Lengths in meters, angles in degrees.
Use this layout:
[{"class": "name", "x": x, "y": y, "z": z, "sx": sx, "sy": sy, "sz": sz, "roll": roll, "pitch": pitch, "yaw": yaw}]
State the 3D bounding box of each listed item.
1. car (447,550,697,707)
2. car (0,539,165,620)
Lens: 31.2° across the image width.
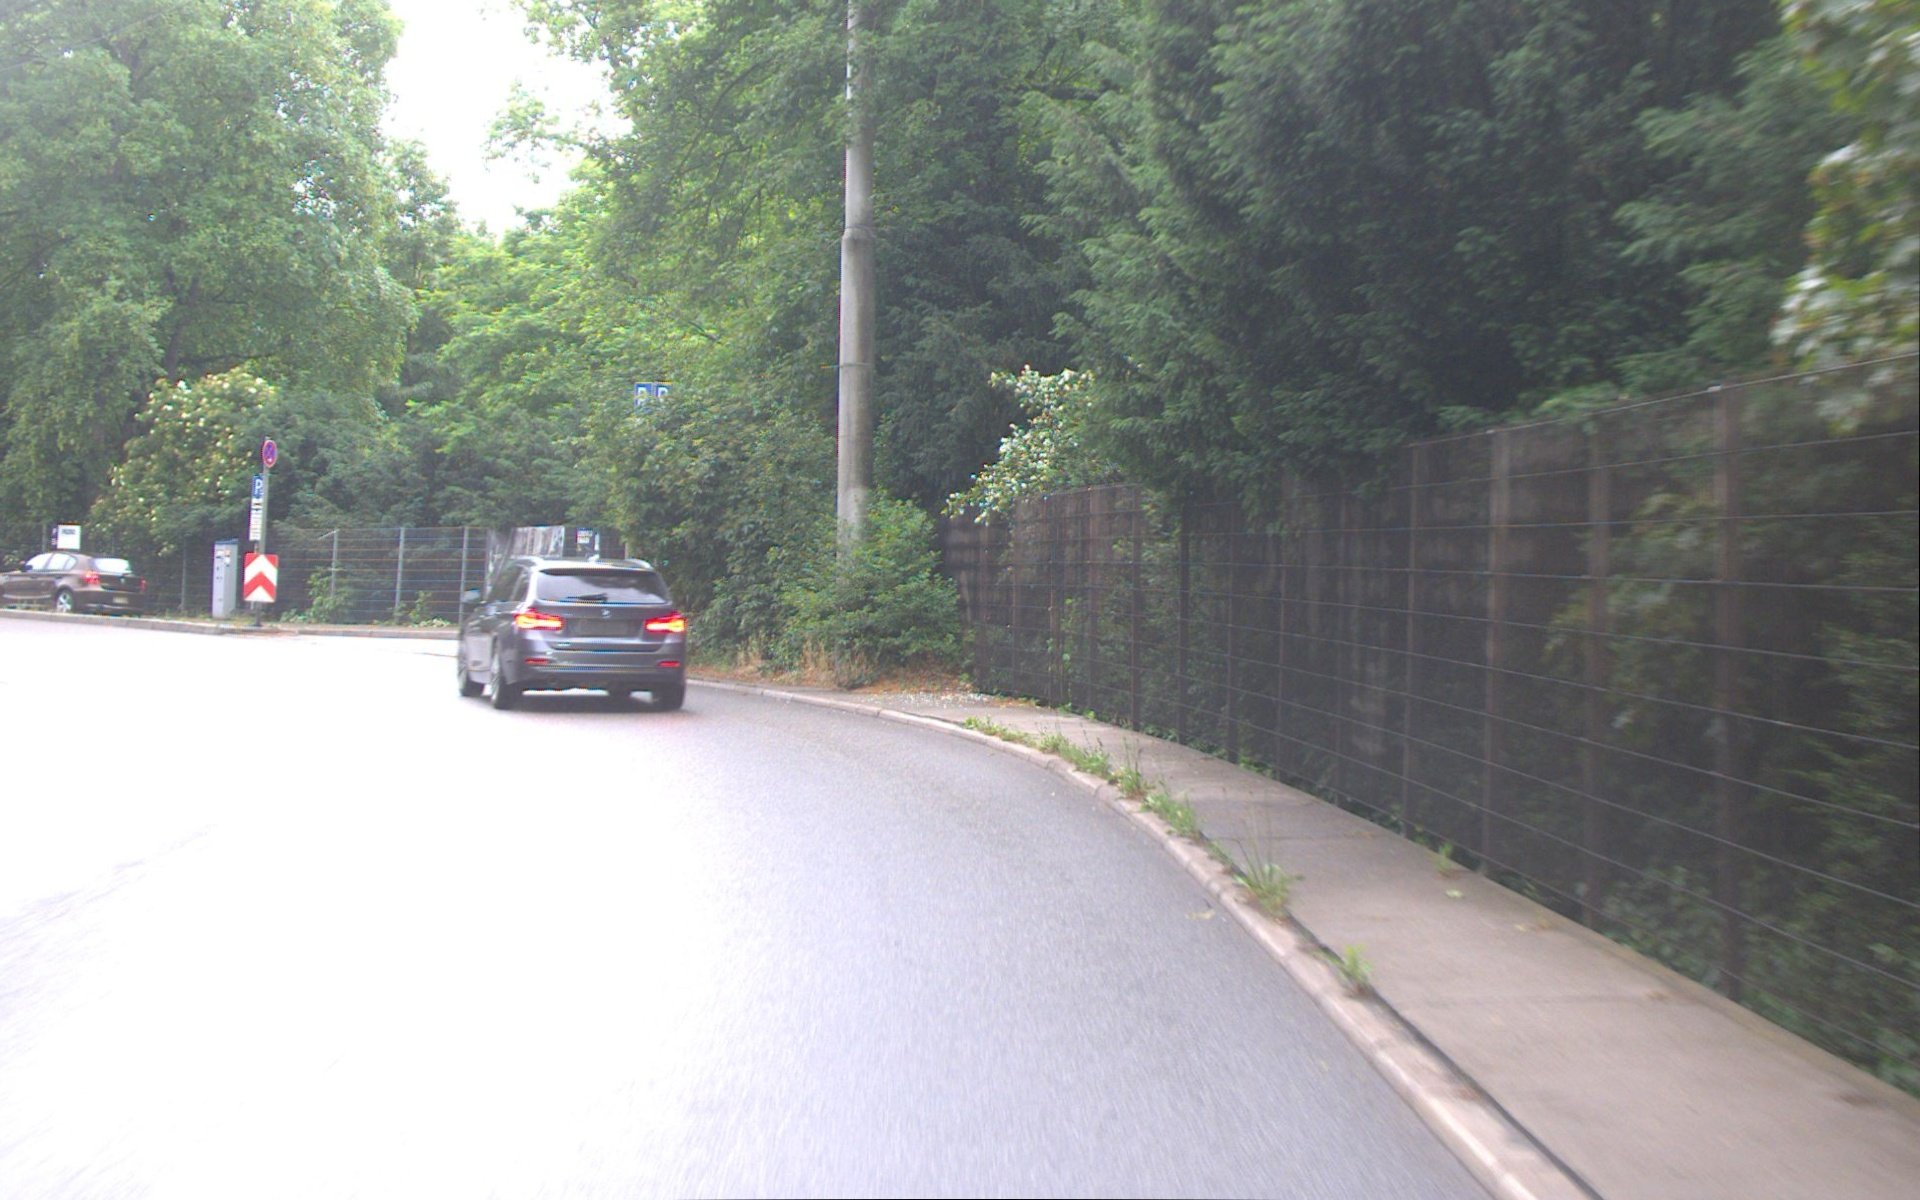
[{"class": "car", "x": -3.868, "y": 0.230, "z": 33.678, "sx": 1.757, "sy": 1.427, "sz": 4.414, "roll": 0, "pitch": 1, "yaw": -15}, {"class": "car", "x": -18.303, "y": -0.443, "z": 70.283, "sx": 4.368, "sy": 1.422, "sz": 1.688, "roll": 3, "pitch": -2, "yaw": 42}]
